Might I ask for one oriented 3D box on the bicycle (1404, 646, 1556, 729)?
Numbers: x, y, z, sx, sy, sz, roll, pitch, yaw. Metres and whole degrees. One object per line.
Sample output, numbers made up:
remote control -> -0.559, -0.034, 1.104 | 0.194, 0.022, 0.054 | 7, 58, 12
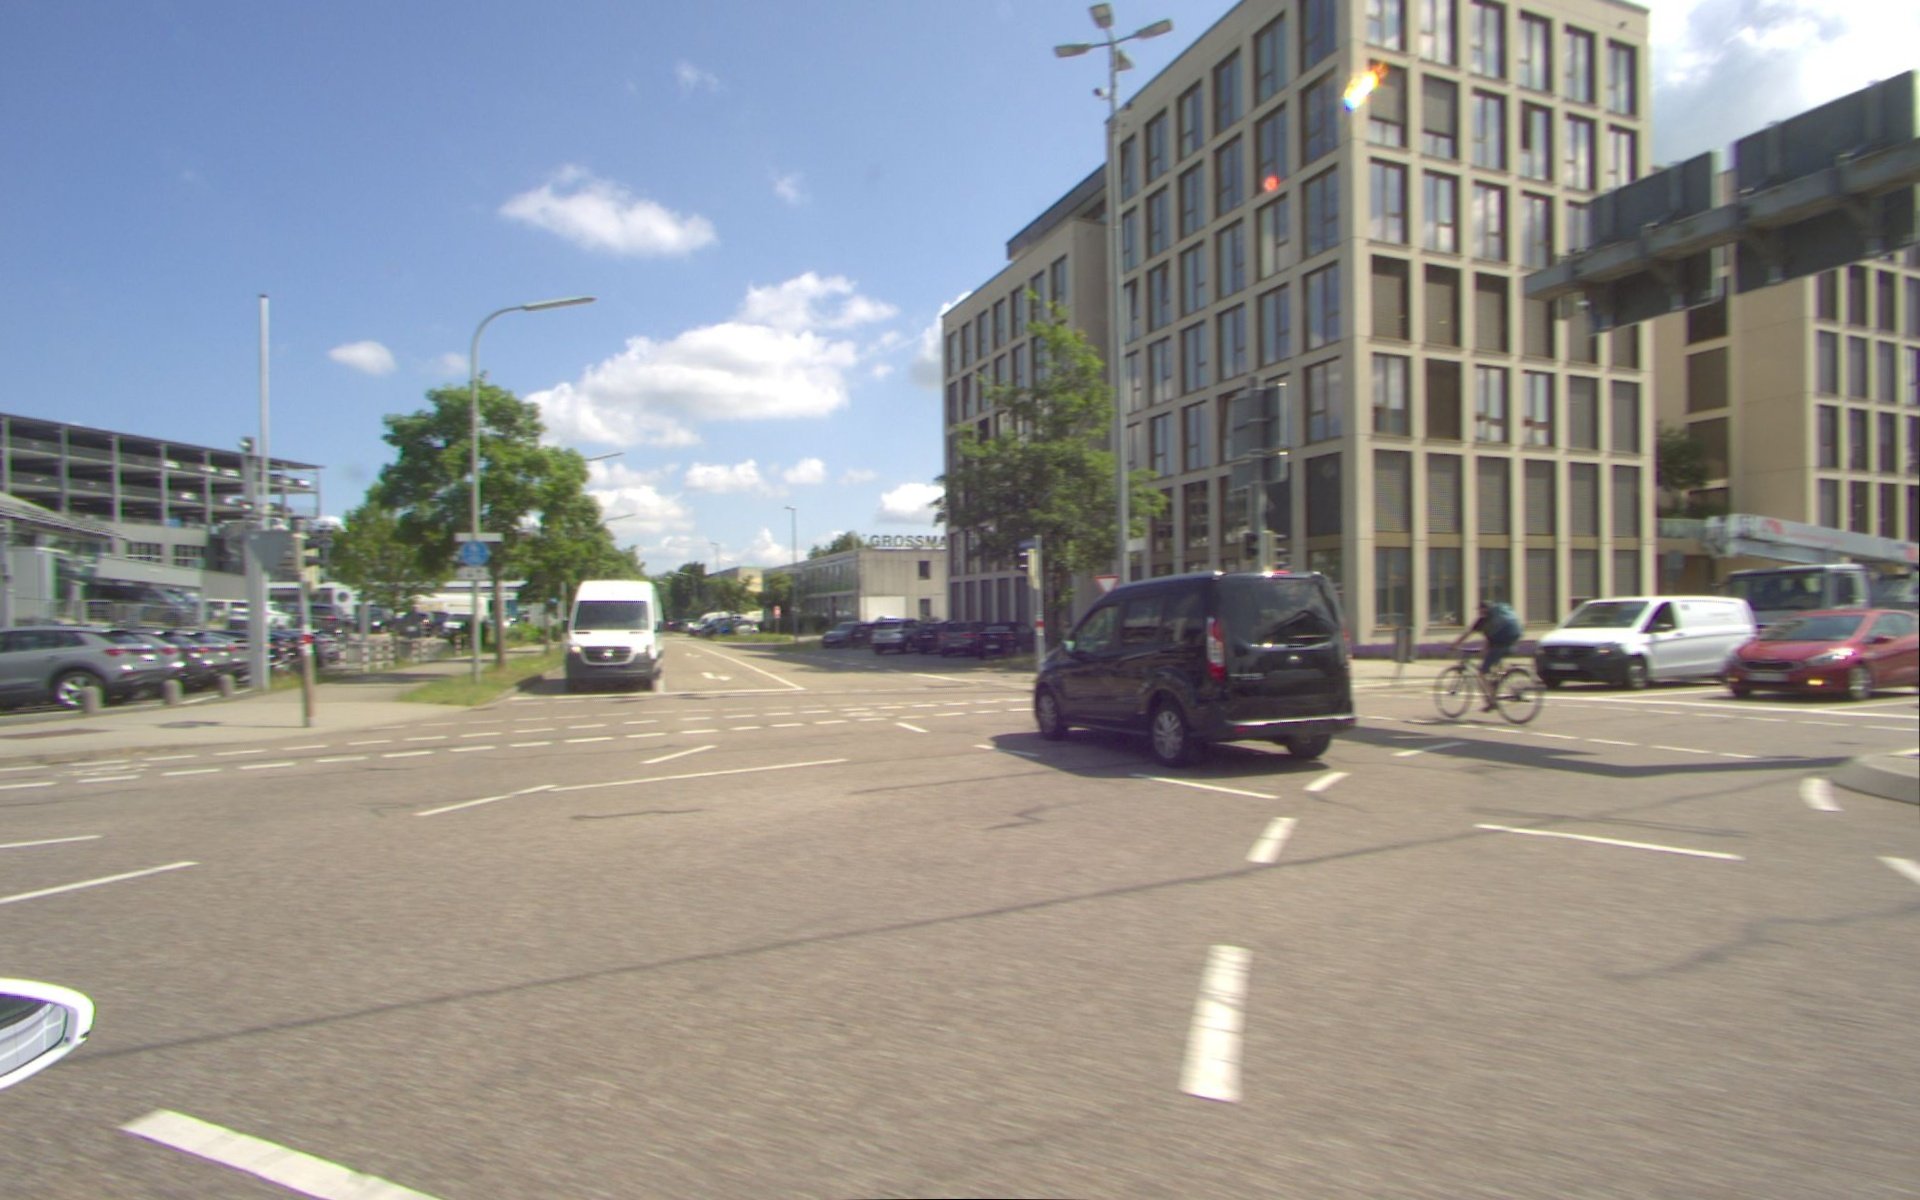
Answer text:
bicycle -> 6.903, 1.127, 13.416 | 0.637, 1.024, 1.976 | 1, -2, -15

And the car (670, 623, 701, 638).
car -> -38.705, 4.339, 141.376 | 3.939, 2.039, 1.992 | 1, -2, -27

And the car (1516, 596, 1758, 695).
car -> 14.044, 0.940, 20.738 | 4.916, 1.861, 1.993 | 1, -2, -26

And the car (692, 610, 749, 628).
car -> -28.436, 2.294, 118.864 | 6.255, 2.039, 2.567 | 1, -2, -21

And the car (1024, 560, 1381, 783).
car -> 2.354, 0.682, 10.842 | 1.799, 1.929, 3.989 | 0, -2, -22

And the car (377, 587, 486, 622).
car -> -35.440, 0.344, 67.351 | 6.306, 2.129, 1.760 | 1, -2, -24

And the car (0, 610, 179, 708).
car -> -18.254, 1.190, 19.381 | 4.513, 1.699, 1.902 | -3, -1, -22

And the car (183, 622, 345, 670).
car -> -25.479, 1.704, 36.867 | 4.514, 1.699, 1.902 | 1, -2, -22

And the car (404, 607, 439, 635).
car -> -32.499, 1.301, 60.523 | 1.541, 1.571, 3.591 | 1, -2, -23

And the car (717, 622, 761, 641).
car -> -21.034, 2.978, 95.374 | 3.929, 1.772, 1.997 | 1, -2, -17

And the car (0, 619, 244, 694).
car -> -20.478, 1.367, 24.437 | 4.514, 1.699, 1.902 | 1, -2, -22

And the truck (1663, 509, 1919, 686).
truck -> 20.850, 0.103, 23.601 | 9.633, 3.600, 2.665 | 1, -2, -26

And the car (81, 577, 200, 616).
car -> -42.395, -0.155, 51.924 | 4.385, 1.824, 1.759 | 1, -2, -24

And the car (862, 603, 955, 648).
car -> -2.427, 1.254, 47.306 | 3.939, 2.039, 1.992 | 1, -2, -27

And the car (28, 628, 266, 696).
car -> -21.452, 1.633, 26.680 | 4.514, 1.699, 1.902 | 1, -2, -22

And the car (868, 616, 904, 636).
car -> -6.566, 2.330, 88.894 | 1.968, 1.705, 3.988 | 1, -2, -23

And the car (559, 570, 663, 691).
car -> -8.718, 0.826, 25.566 | 2.101, 2.639, 6.855 | 1, -2, -16

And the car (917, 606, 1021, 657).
car -> 0.363, 1.362, 42.297 | 3.939, 2.039, 1.992 | 1, -2, -27

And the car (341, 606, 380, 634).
car -> -35.792, 1.223, 59.864 | 1.541, 1.571, 3.591 | 1, -2, -23

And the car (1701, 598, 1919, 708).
car -> 14.659, 0.882, 16.859 | 4.147, 1.647, 1.821 | 1, -2, -26

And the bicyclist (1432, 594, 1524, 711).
bicyclist -> 6.909, 0.697, 13.388 | 0.627, 1.496, 0.914 | 1, -2, -16

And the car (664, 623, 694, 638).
car -> -40.646, 4.424, 144.726 | 3.939, 2.039, 1.992 | 1, -2, -27

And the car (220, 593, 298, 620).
car -> -44.879, 0.423, 64.232 | 3.944, 1.571, 1.756 | 2, -2, -31

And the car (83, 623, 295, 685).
car -> -22.347, 1.568, 29.279 | 4.514, 1.699, 1.902 | 1, -2, -22

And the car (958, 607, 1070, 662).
car -> 2.116, 1.369, 39.224 | 3.939, 2.039, 1.992 | 1, -2, -27

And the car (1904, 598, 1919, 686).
car -> 20.155, 0.810, 18.998 | 4.145, 1.647, 1.822 | 1, -2, -24

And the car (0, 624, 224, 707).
car -> -19.076, 1.410, 21.816 | 4.514, 1.699, 1.902 | 1, -2, -22

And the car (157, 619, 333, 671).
car -> -24.288, 1.533, 34.225 | 4.514, 1.699, 1.902 | 1, -2, -22

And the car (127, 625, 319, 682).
car -> -23.273, 1.699, 31.842 | 4.514, 1.699, 1.902 | 1, -2, -22

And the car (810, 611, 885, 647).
car -> -6.576, 1.718, 58.640 | 3.939, 2.039, 1.992 | 1, -2, -27
